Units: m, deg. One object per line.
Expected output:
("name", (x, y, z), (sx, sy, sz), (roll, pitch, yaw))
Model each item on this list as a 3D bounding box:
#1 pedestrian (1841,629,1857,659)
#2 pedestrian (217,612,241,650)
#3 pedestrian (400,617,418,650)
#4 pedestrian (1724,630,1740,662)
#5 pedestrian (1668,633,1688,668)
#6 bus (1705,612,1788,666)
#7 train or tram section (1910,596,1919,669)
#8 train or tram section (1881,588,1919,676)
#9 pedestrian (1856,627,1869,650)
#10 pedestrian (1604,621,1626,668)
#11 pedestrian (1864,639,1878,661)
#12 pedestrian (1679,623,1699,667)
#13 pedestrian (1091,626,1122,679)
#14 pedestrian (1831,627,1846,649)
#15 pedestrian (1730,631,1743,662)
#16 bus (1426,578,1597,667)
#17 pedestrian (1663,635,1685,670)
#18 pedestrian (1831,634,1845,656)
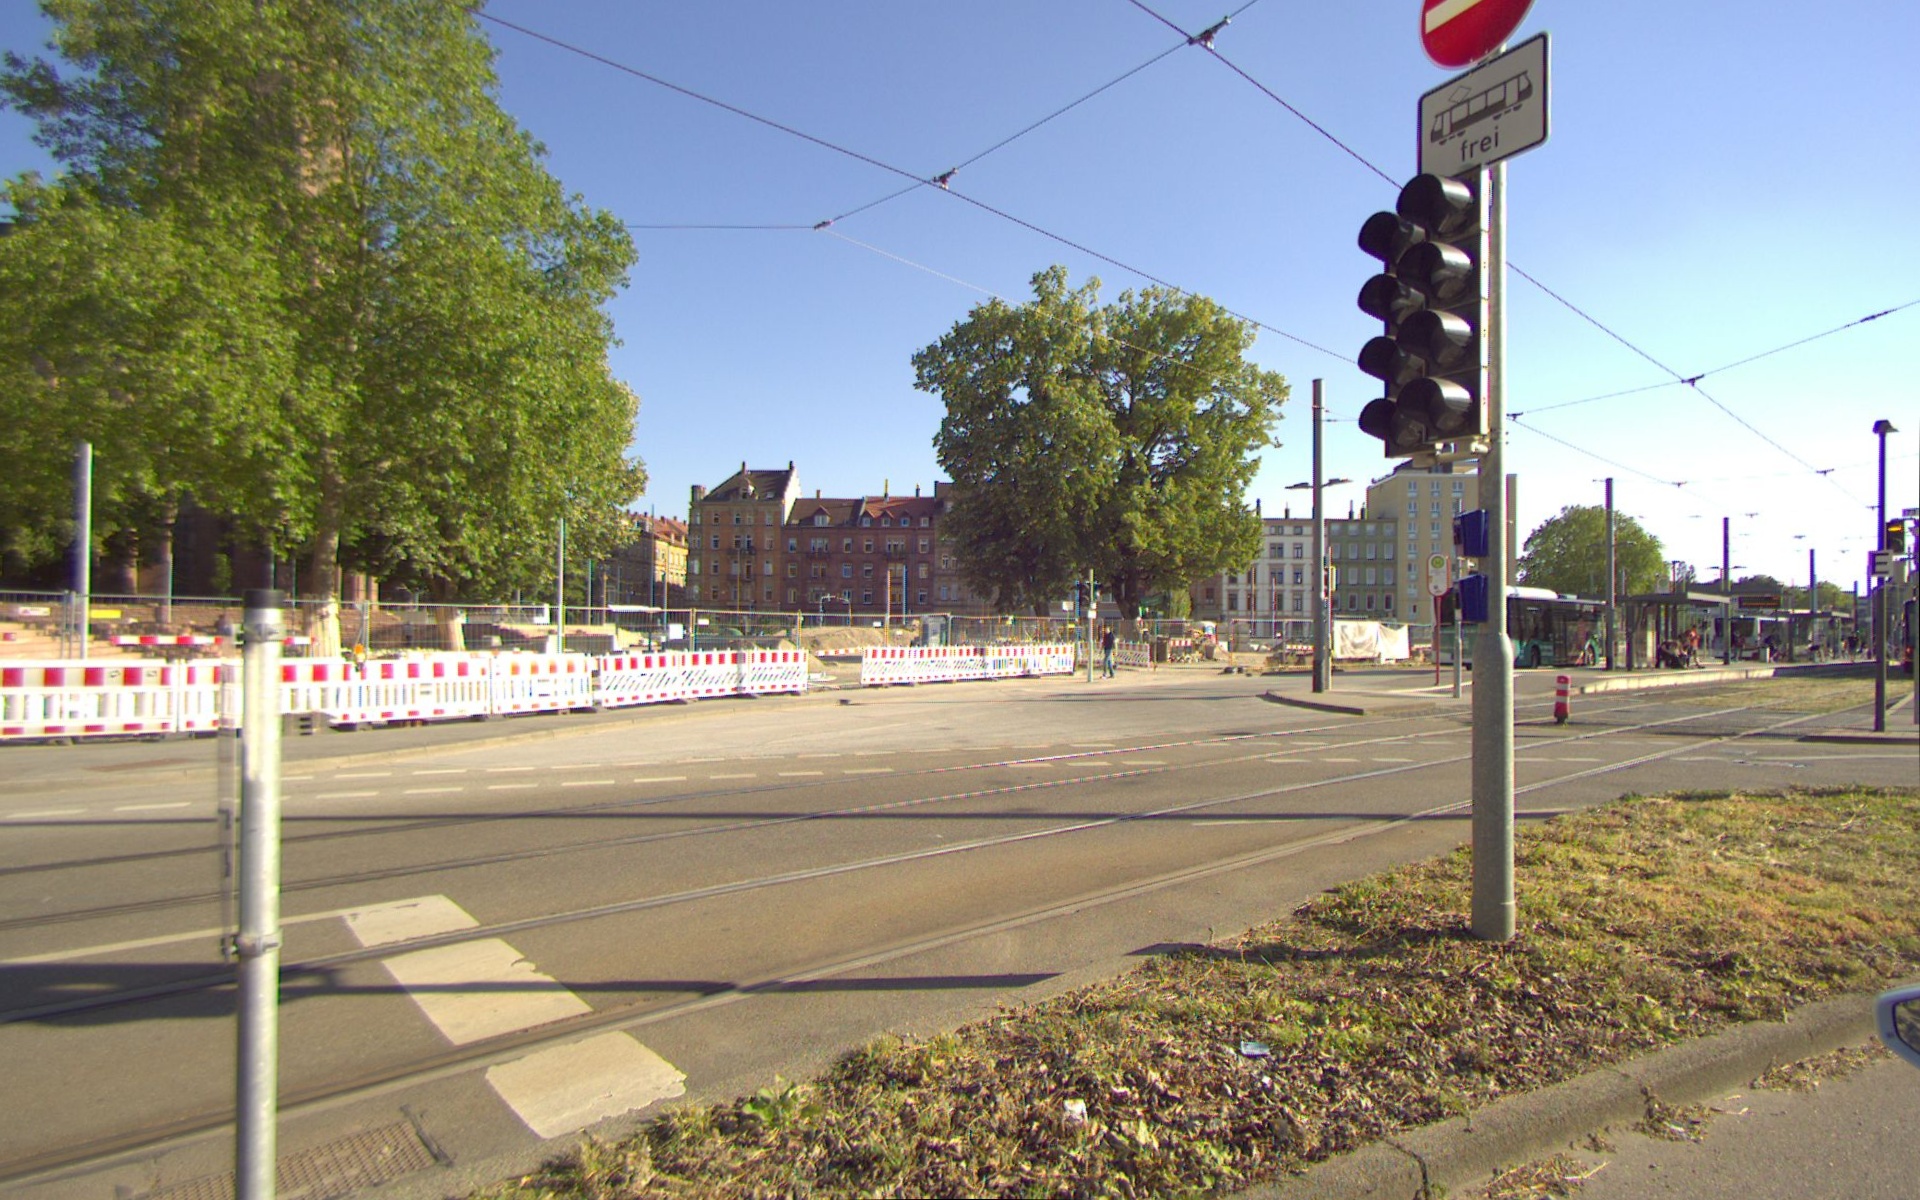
("pedestrian", (53.578, 2.665, 60.519), (0.629, 1.772, 0.570), (-1, -2, 34))
("pedestrian", (-33.255, 1.408, 45.711), (0.665, 1.669, 0.635), (1, -1, -18))
("pedestrian", (-27.677, 1.681, 50.454), (0.751, 1.669, 0.671), (1, -1, -26))
("pedestrian", (42.707, 2.527, 55.590), (0.629, 1.772, 0.570), (-1, -2, 34))
("pedestrian", (28.180, 1.987, 39.407), (0.564, 1.363, 0.636), (-1, -2, 43))
("bus", (53.958, 2.637, 68.748), (13.376, 3.317, 2.694), (2, 0, -44))
("train or tram section", (53.890, 1.824, 53.780), (12.100, 3.644, 2.987), (2, 0, -40))
("train or tram section", (44.753, 1.496, 45.827), (12.108, 3.644, 2.855), (2, 0, -42))
("pedestrian", (70.310, 3.017, 78.230), (0.636, 1.772, 0.726), (2, -2, -45))
("pedestrian", (25.069, 1.703, 38.472), (0.554, 1.772, 0.534), (2, -2, -35))
("pedestrian", (72.914, 3.982, 80.392), (0.634, 1.772, 0.728), (2, -2, -37))
("pedestrian", (29.559, 1.815, 40.727), (0.564, 1.772, 0.636), (-1, -2, 43))
("pedestrian", (4.898, 1.746, 33.474), (0.699, 1.719, 0.899), (-1, -4, 33))
("pedestrian", (70.030, 3.017, 80.058), (0.634, 1.772, 0.728), (2, -2, -37))
("pedestrian", (44.816, 2.661, 57.963), (0.564, 1.772, 0.636), (-1, -2, 41))
("bus", (21.998, 0.904, 39.749), (9.564, 3.177, 2.631), (2, 0, -40))
("pedestrian", (27.671, 2.023, 38.931), (0.609, 1.358, 0.438), (-1, -2, 44))
("pedestrian", (69.272, 3.547, 79.243), (0.634, 1.772, 0.728), (2, -2, -37))
